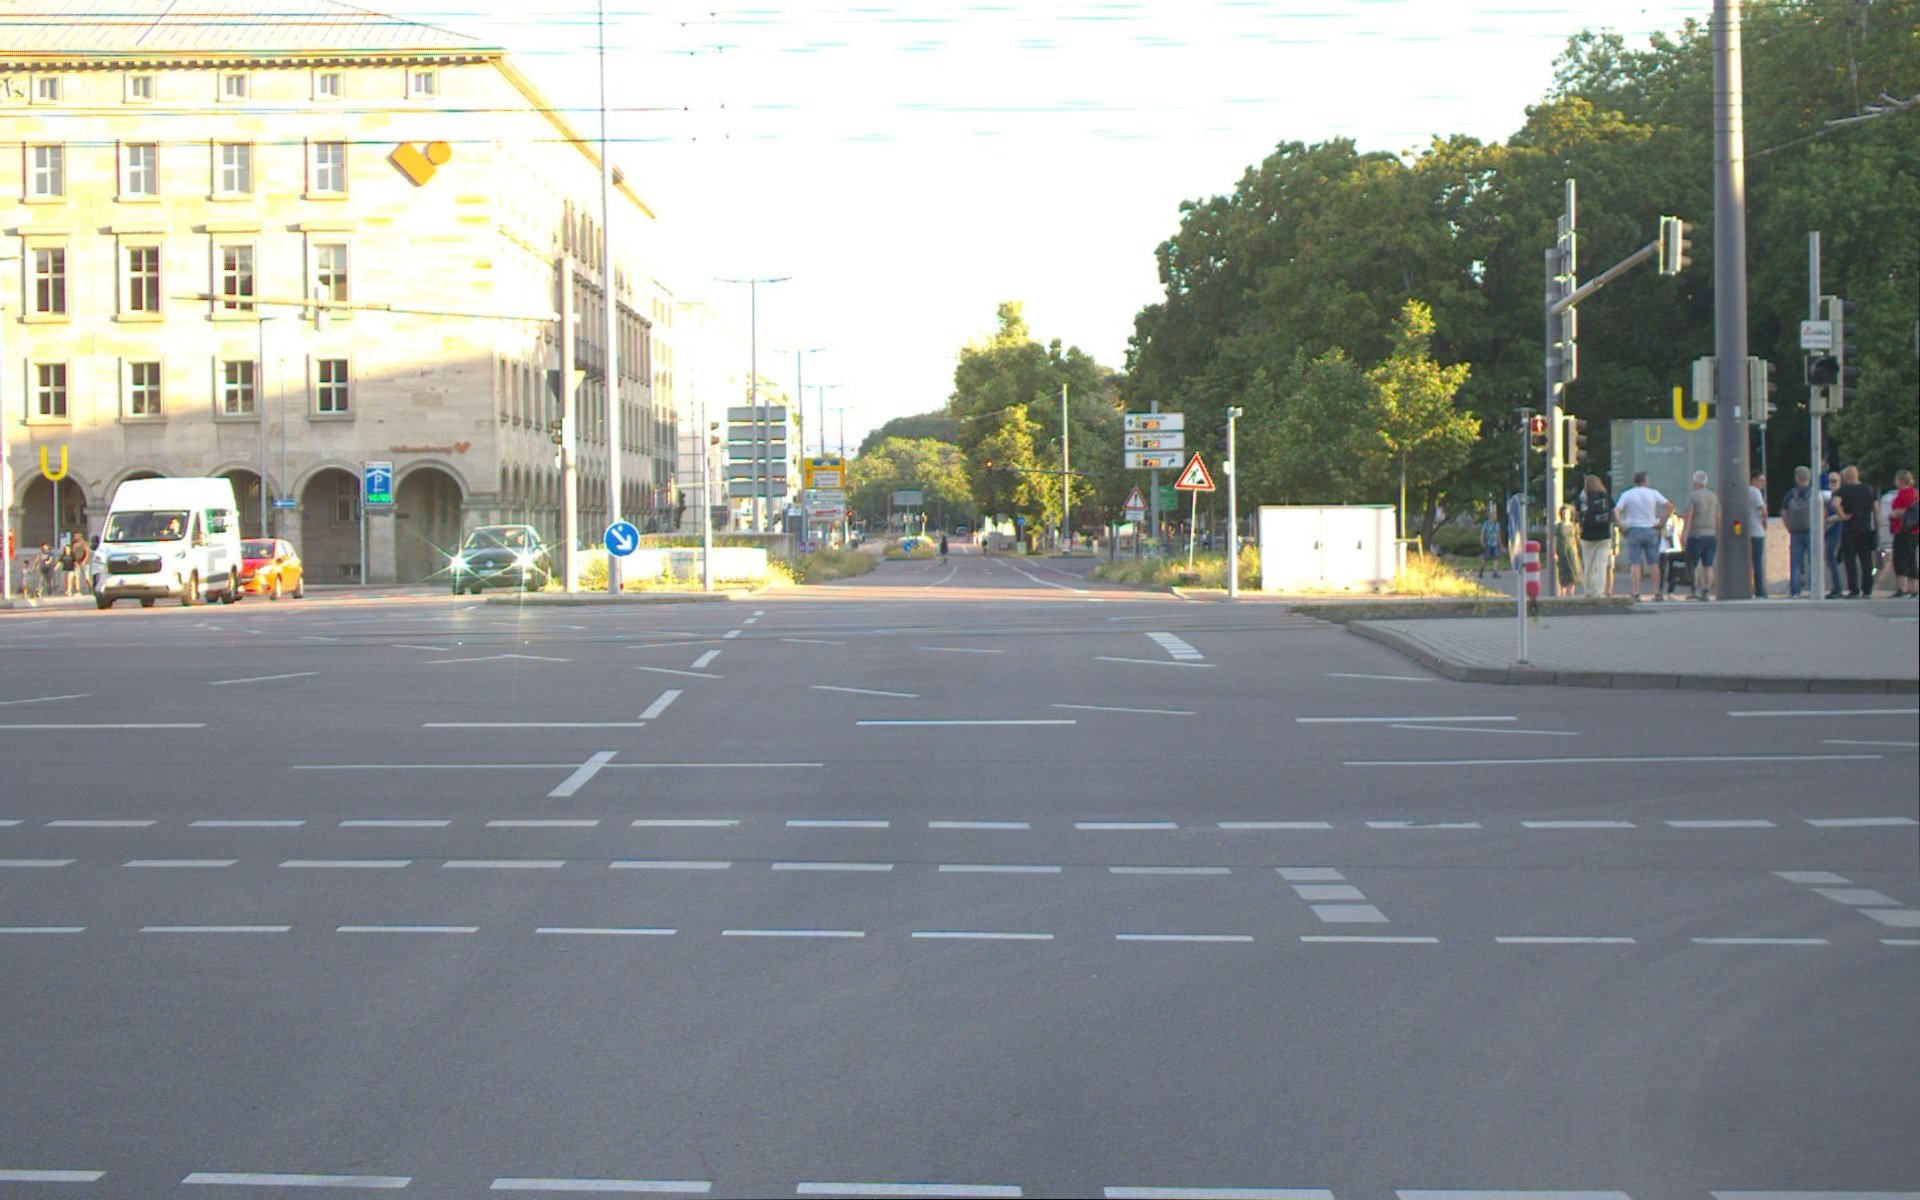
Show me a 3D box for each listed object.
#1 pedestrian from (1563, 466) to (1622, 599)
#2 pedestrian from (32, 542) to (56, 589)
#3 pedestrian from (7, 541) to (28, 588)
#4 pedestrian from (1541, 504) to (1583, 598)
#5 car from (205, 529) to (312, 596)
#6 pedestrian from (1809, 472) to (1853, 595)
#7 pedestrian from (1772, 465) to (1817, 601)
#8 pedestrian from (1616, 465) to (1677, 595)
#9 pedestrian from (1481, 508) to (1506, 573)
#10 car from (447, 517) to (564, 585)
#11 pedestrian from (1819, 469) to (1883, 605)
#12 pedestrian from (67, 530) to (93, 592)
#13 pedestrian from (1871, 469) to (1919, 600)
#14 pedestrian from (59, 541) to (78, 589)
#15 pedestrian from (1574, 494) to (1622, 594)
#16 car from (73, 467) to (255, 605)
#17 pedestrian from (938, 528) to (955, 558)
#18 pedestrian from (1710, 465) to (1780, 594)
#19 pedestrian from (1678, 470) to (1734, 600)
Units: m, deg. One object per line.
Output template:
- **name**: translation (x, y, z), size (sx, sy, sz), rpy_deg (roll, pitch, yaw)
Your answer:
- **pedestrian**: translation (8.290, -0.887, 45.087), size (0.711, 1.719, 0.915), rpy_deg (0, 2, 7)
- **pedestrian**: translation (-25.298, -0.949, 94.968), size (0.505, 1.296, 0.701), rpy_deg (1, 0, -5)
- **pedestrian**: translation (-26.035, -0.978, 94.968), size (0.474, 1.296, 0.464), rpy_deg (1, 0, -5)
- **pedestrian**: translation (10.642, -0.873, 60.775), size (0.560, 1.649, 0.901), rpy_deg (0, 2, 20)
- **car**: translation (-16.539, -0.902, 81.183), size (1.738, 1.482, 4.001), rpy_deg (-1, 2, -1)
- **pedestrian**: translation (11.938, -0.913, 47.125), size (0.572, 1.673, 0.638), rpy_deg (0, 2, 14)
- **pedestrian**: translation (11.089, -0.896, 45.662), size (0.572, 1.785, 0.638), rpy_deg (0, 2, 14)
- **pedestrian**: translation (9.170, -0.943, 45.939), size (0.711, 1.719, 0.668), rpy_deg (0, 2, 5)
- **pedestrian**: translation (14.541, -1.629, 93.664), size (0.642, 1.754, 0.524), rpy_deg (0, 2, 8)
- **car**: translation (-9.560, -1.064, 72.630), size (1.823, 1.337, 4.000), rpy_deg (-1, 2, 2)
- **pedestrian**: translation (11.834, -0.846, 45.691), size (0.805, 1.785, 0.800), rpy_deg (0, 2, 14)
- **pedestrian**: translation (-24.504, -1.085, 95.756), size (0.621, 1.738, 0.460), rpy_deg (1, 0, -5)
- **pedestrian**: translation (12.659, -0.881, 46.023), size (0.845, 1.728, 0.705), rpy_deg (0, 2, 12)
- **pedestrian**: translation (-24.517, -0.960, 94.552), size (0.420, 1.296, 0.460), rpy_deg (1, 0, -5)
- **pedestrian**: translation (11.255, -0.992, 60.677), size (0.680, 1.751, 0.901), rpy_deg (0, 2, 20)
- **car**: translation (-16.697, -1.373, 72.476), size (2.279, 2.766, 6.084), rpy_deg (-1, 2, 1)
- **pedestrian**: translation (-0.769, -3.257, 194.786), size (0.906, 1.665, 1.307), rpy_deg (-1, 2, -1)
- **pedestrian**: translation (10.644, -0.959, 46.604), size (0.912, 1.719, 0.713), rpy_deg (0, 2, 13)
- **pedestrian**: translation (9.940, -0.873, 45.776), size (0.711, 1.719, 0.668), rpy_deg (0, 2, 13)
